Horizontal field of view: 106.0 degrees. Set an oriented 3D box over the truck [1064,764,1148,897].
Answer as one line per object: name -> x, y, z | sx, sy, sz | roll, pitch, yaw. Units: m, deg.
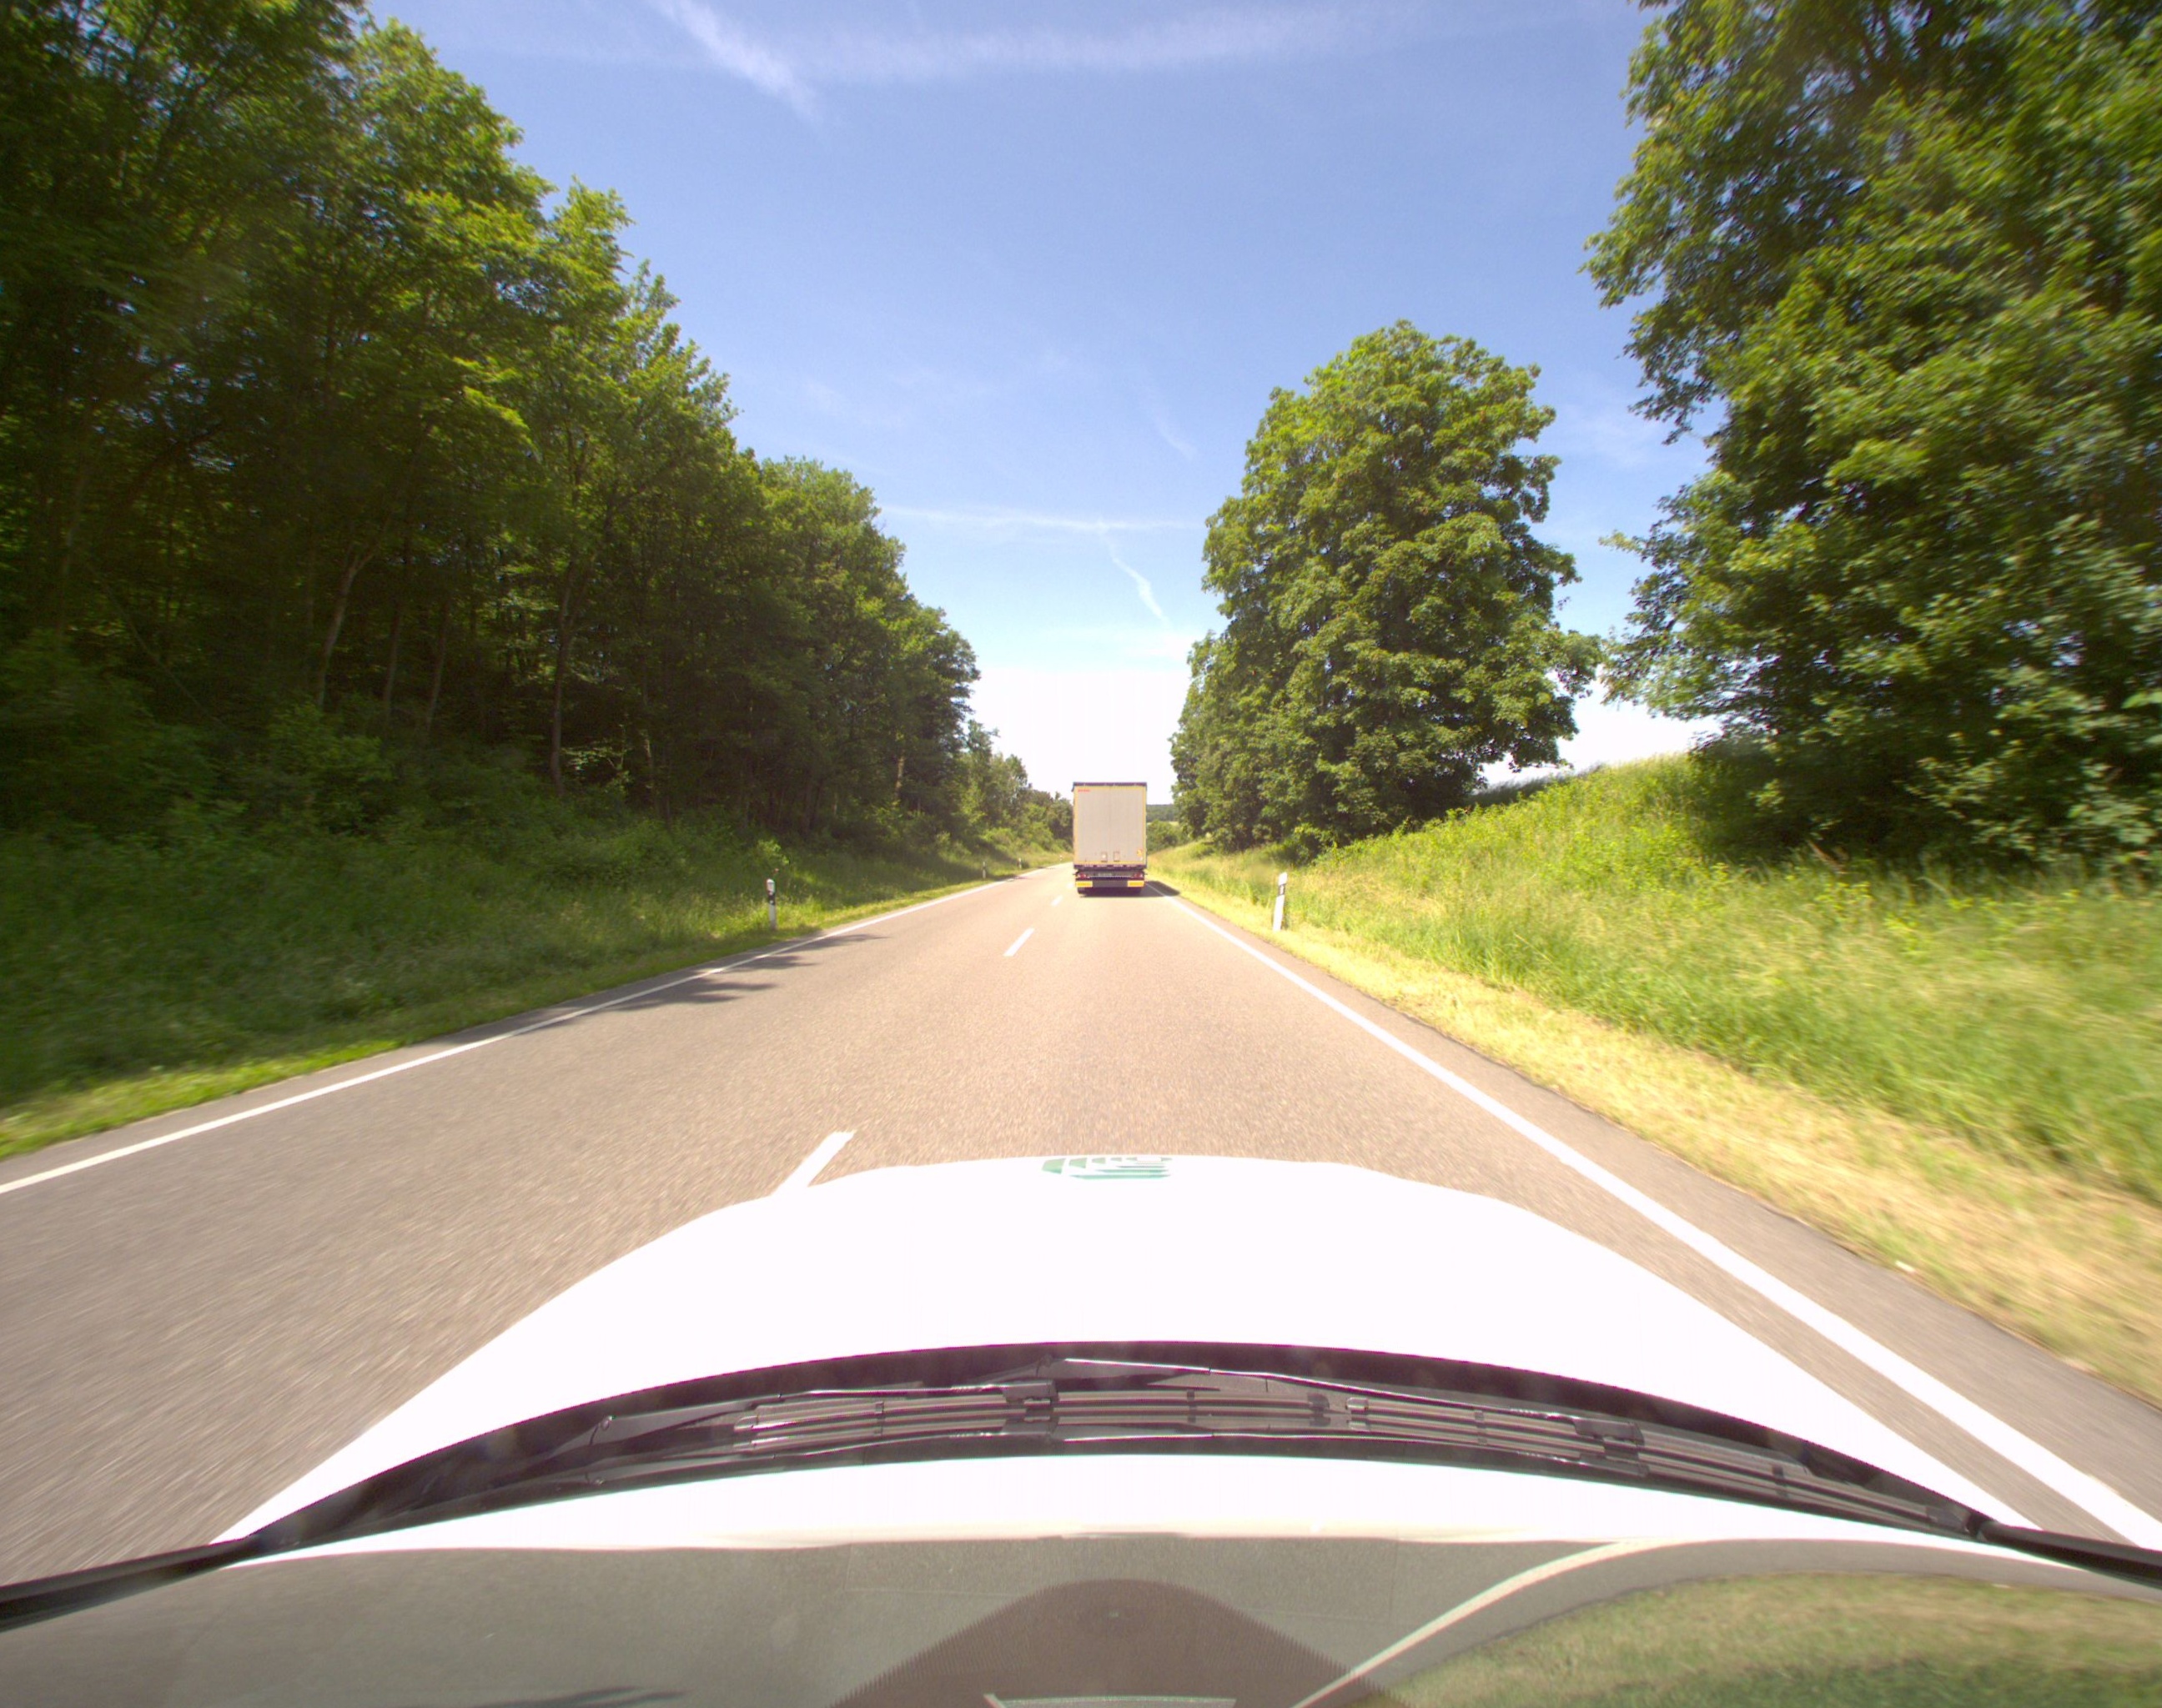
truck -> 1.025, -0.819, 33.882 | 2.807, 4.532, 11.772 | -1, 0, 2
